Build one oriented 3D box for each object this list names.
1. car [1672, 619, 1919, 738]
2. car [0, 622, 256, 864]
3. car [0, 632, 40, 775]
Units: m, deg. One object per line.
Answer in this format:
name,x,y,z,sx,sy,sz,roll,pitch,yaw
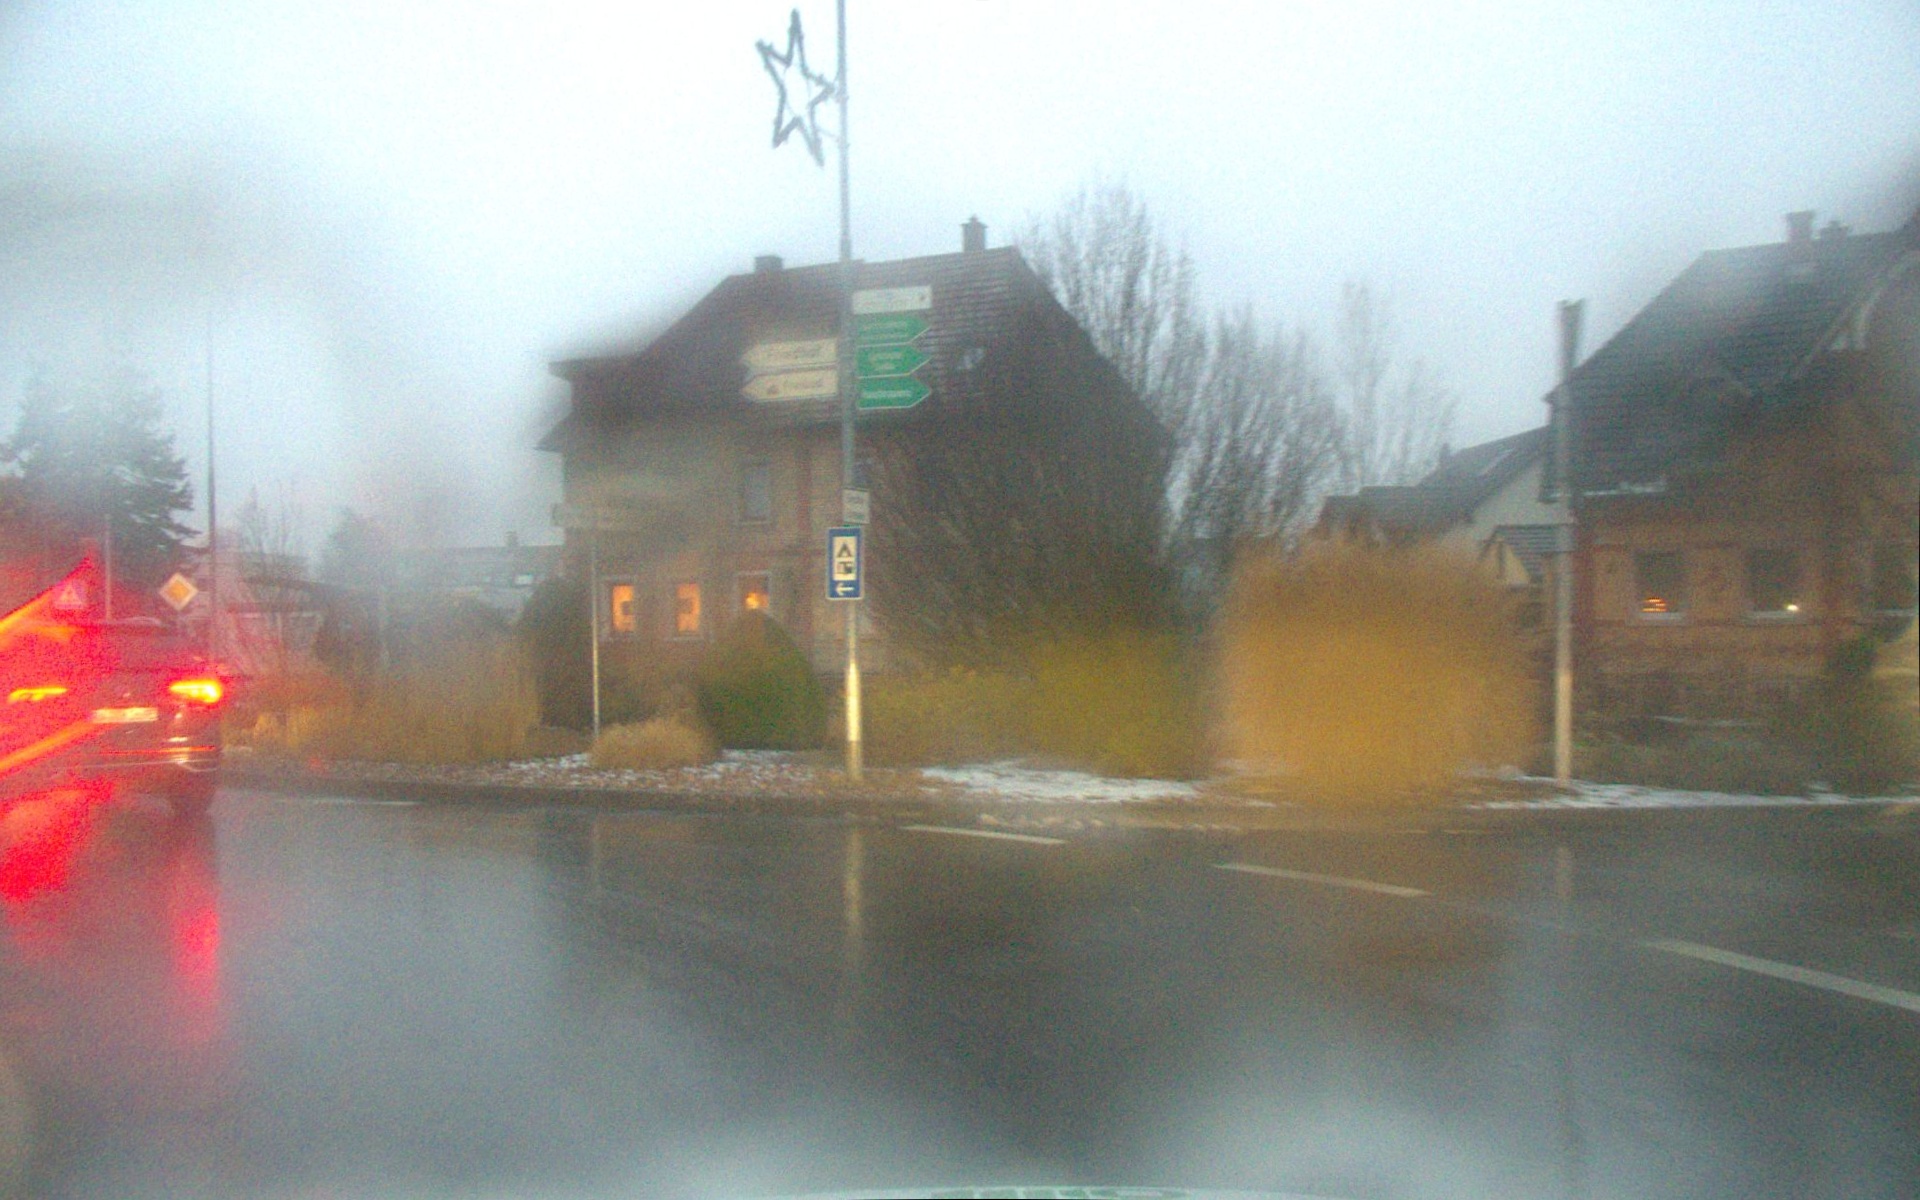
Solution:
car,15.539,1.372,29.279,5.211,1.898,2.365,-3,-1,27
car,-7.622,1.095,14.272,1.931,1.748,3.946,-1,-1,-38
car,-14.046,1.398,22.941,2.139,1.719,4.528,-2,1,-28
